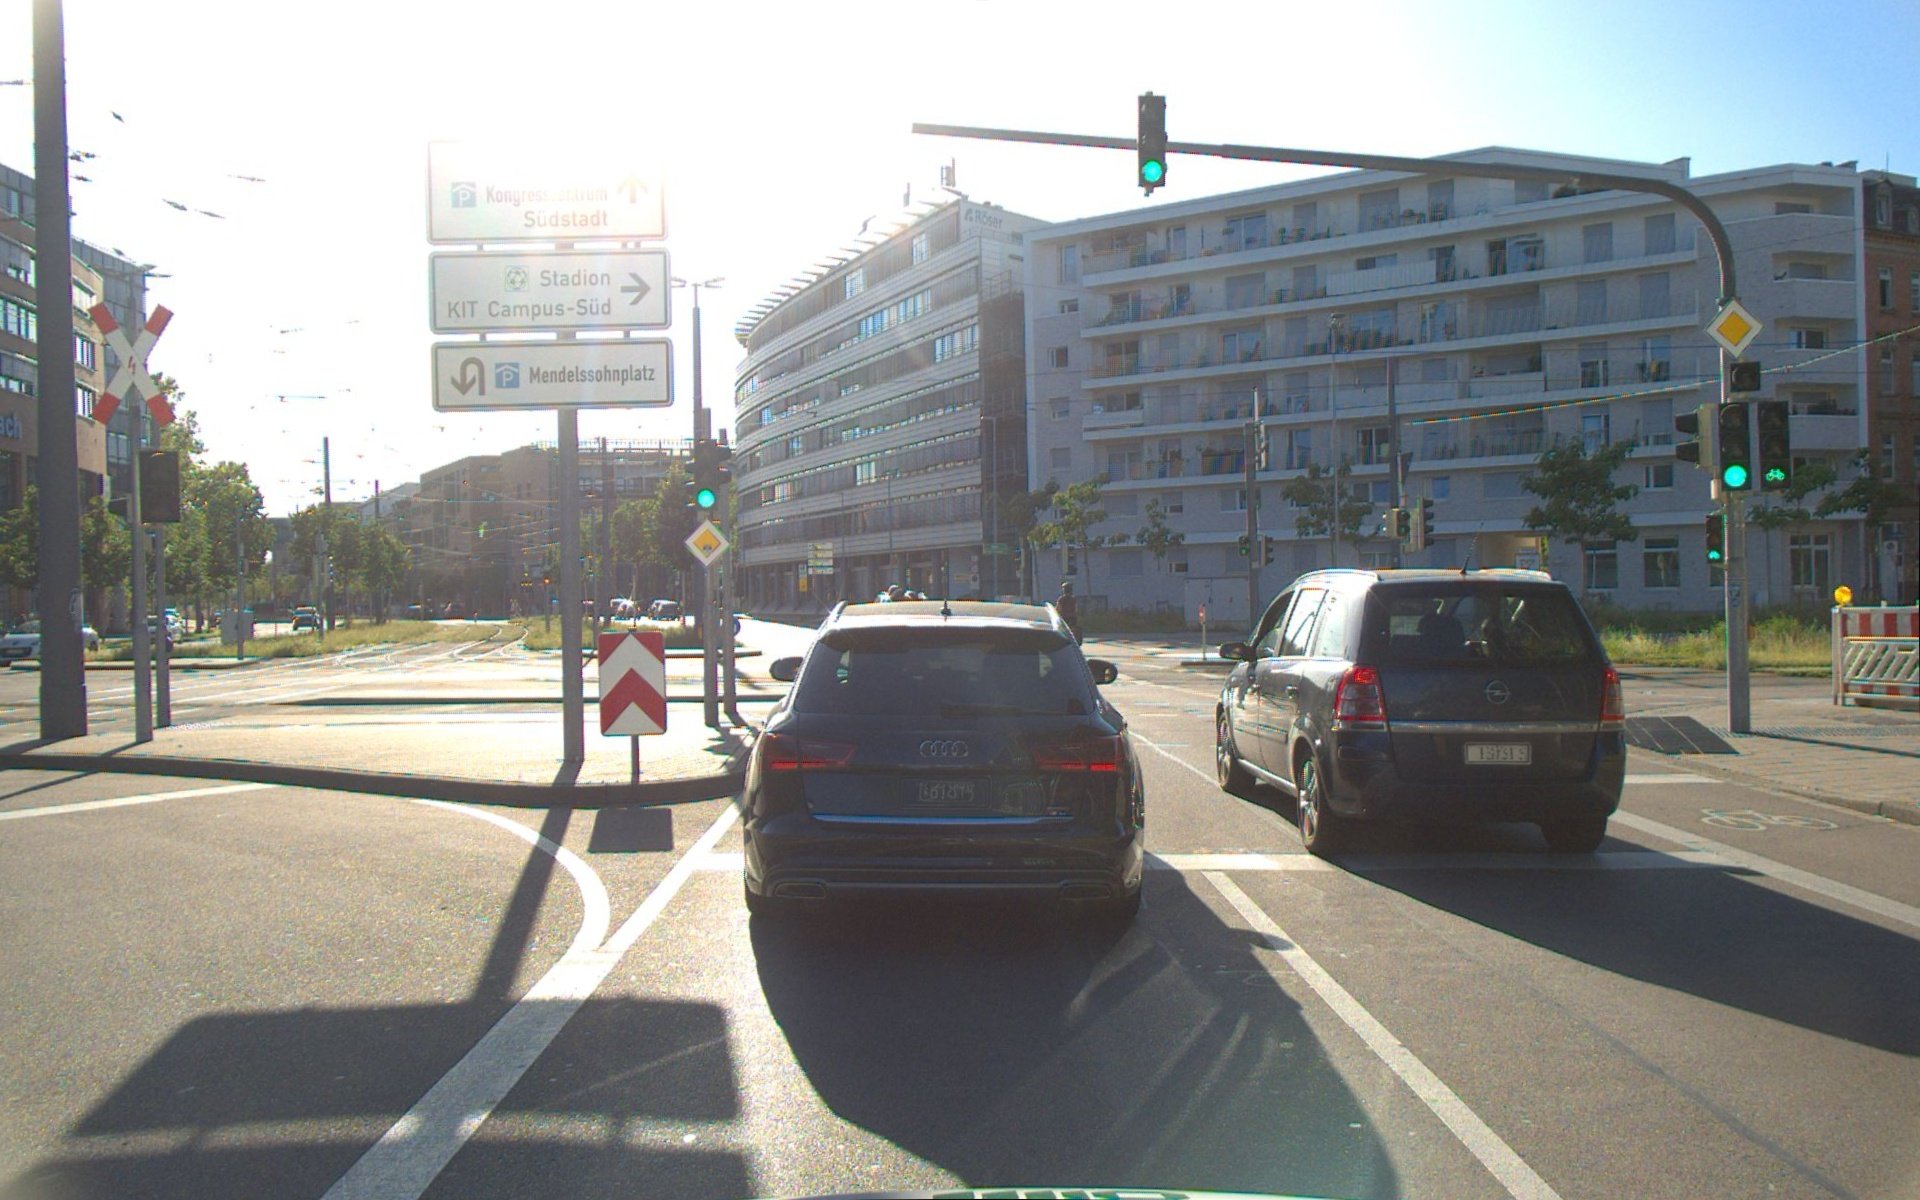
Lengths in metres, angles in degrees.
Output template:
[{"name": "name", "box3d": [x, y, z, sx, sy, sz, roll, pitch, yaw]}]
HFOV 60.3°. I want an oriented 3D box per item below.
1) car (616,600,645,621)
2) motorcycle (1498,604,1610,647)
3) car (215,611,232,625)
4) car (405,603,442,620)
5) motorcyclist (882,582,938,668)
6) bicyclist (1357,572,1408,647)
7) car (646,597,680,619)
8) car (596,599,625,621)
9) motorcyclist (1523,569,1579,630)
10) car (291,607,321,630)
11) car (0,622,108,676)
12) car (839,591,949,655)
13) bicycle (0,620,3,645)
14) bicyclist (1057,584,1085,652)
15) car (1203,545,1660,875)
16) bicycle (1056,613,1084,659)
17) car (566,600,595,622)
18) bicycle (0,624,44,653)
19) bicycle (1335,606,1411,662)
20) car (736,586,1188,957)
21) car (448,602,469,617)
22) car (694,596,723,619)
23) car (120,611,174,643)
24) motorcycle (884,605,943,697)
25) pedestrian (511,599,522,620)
[{"name": "car", "box3d": [-26.620, 0.870, 133.532, 1.961, 1.624, 3.982, -2, -1, -16]}, {"name": "motorcycle", "box3d": [15.064, 0.647, 42.015, 2.405, 1.018, 1.170, -1, 0, -6]}, {"name": "car", "box3d": [-87.062, 2.116, 195.570, 1.631, 1.616, 3.328, -1, 0, -28]}, {"name": "car", "box3d": [-56.522, 1.230, 174.171, 1.951, 1.736, 4.003, -2, -1, 11]}, {"name": "motorcyclist", "box3d": [-0.815, 0.396, 26.781, 0.846, 1.349, 0.680, -1, 0, -5]}, {"name": "bicyclist", "box3d": [9.963, 0.224, 38.997, 0.754, 1.736, 0.925, -1, 0, -19]}, {"name": "car", "box3d": [-23.541, 0.651, 131.069, 1.964, 1.624, 3.977, -2, -1, -19]}, {"name": "car", "box3d": [-29.428, 0.836, 139.202, 1.964, 1.736, 3.978, -2, -1, -19]}, {"name": "motorcyclist", "box3d": [15.004, -0.012, 42.013, 0.907, 1.507, 1.170, -1, 0, -5]}, {"name": "car", "box3d": [-49.025, 1.362, 124.042, 1.965, 1.668, 4.384, -1, 0, -21]}, {"name": "car", "box3d": [-29.960, 1.576, 54.223, 1.954, 1.572, 4.526, -1, 0, -4]}, {"name": "car", "box3d": [-1.986, 0.637, 48.140, 1.974, 1.745, 4.346, 0, 0, -20]}, {"name": "bicycle", "box3d": [-50.460, 1.702, 84.900, 2.362, 1.257, 0.745, -2, -1, 8]}, {"name": "bicyclist", "box3d": [2.774, 0.445, 41.390, 0.640, 1.671, 0.972, -1, 0, 2]}, {"name": "car", "box3d": [2.819, 0.588, 10.900, 1.710, 1.725, 4.259, 1, 0, -1]}, {"name": "bicycle", "box3d": [2.744, 0.889, 41.391, 0.640, 1.061, 1.930, -1, 1, 2]}, {"name": "car", "box3d": [-31.810, 0.952, 138.574, 1.964, 1.736, 3.978, -2, -1, -19]}, {"name": "bicycle", "box3d": [-50.641, 2.078, 88.954, 2.369, 1.458, 0.789, -2, -1, 8]}, {"name": "bicycle", "box3d": [9.827, 0.794, 39.424, 0.754, 1.284, 2.071, -1, 0, -18]}, {"name": "car", "box3d": [-0.030, 0.675, 8.634, 1.805, 1.479, 3.999, 0, 0, -1]}, {"name": "car", "box3d": [-58.720, 1.135, 193.595, 1.965, 1.668, 4.383, -1, 0, -21]}, {"name": "car", "box3d": [-21.819, 0.660, 143.359, 1.961, 1.870, 3.982, -2, -1, -16]}, {"name": "car", "box3d": [-39.710, 1.291, 80.843, 1.867, 1.431, 3.976, -2, 1, -20]}, {"name": "motorcycle", "box3d": [-0.773, 0.791, 26.730, 0.845, 1.417, 1.892, -1, 0, -4]}, {"name": "pedestrian", "box3d": [-39.209, 0.861, 146.301, 0.888, 1.856, 0.825, -2, -1, -18]}]
